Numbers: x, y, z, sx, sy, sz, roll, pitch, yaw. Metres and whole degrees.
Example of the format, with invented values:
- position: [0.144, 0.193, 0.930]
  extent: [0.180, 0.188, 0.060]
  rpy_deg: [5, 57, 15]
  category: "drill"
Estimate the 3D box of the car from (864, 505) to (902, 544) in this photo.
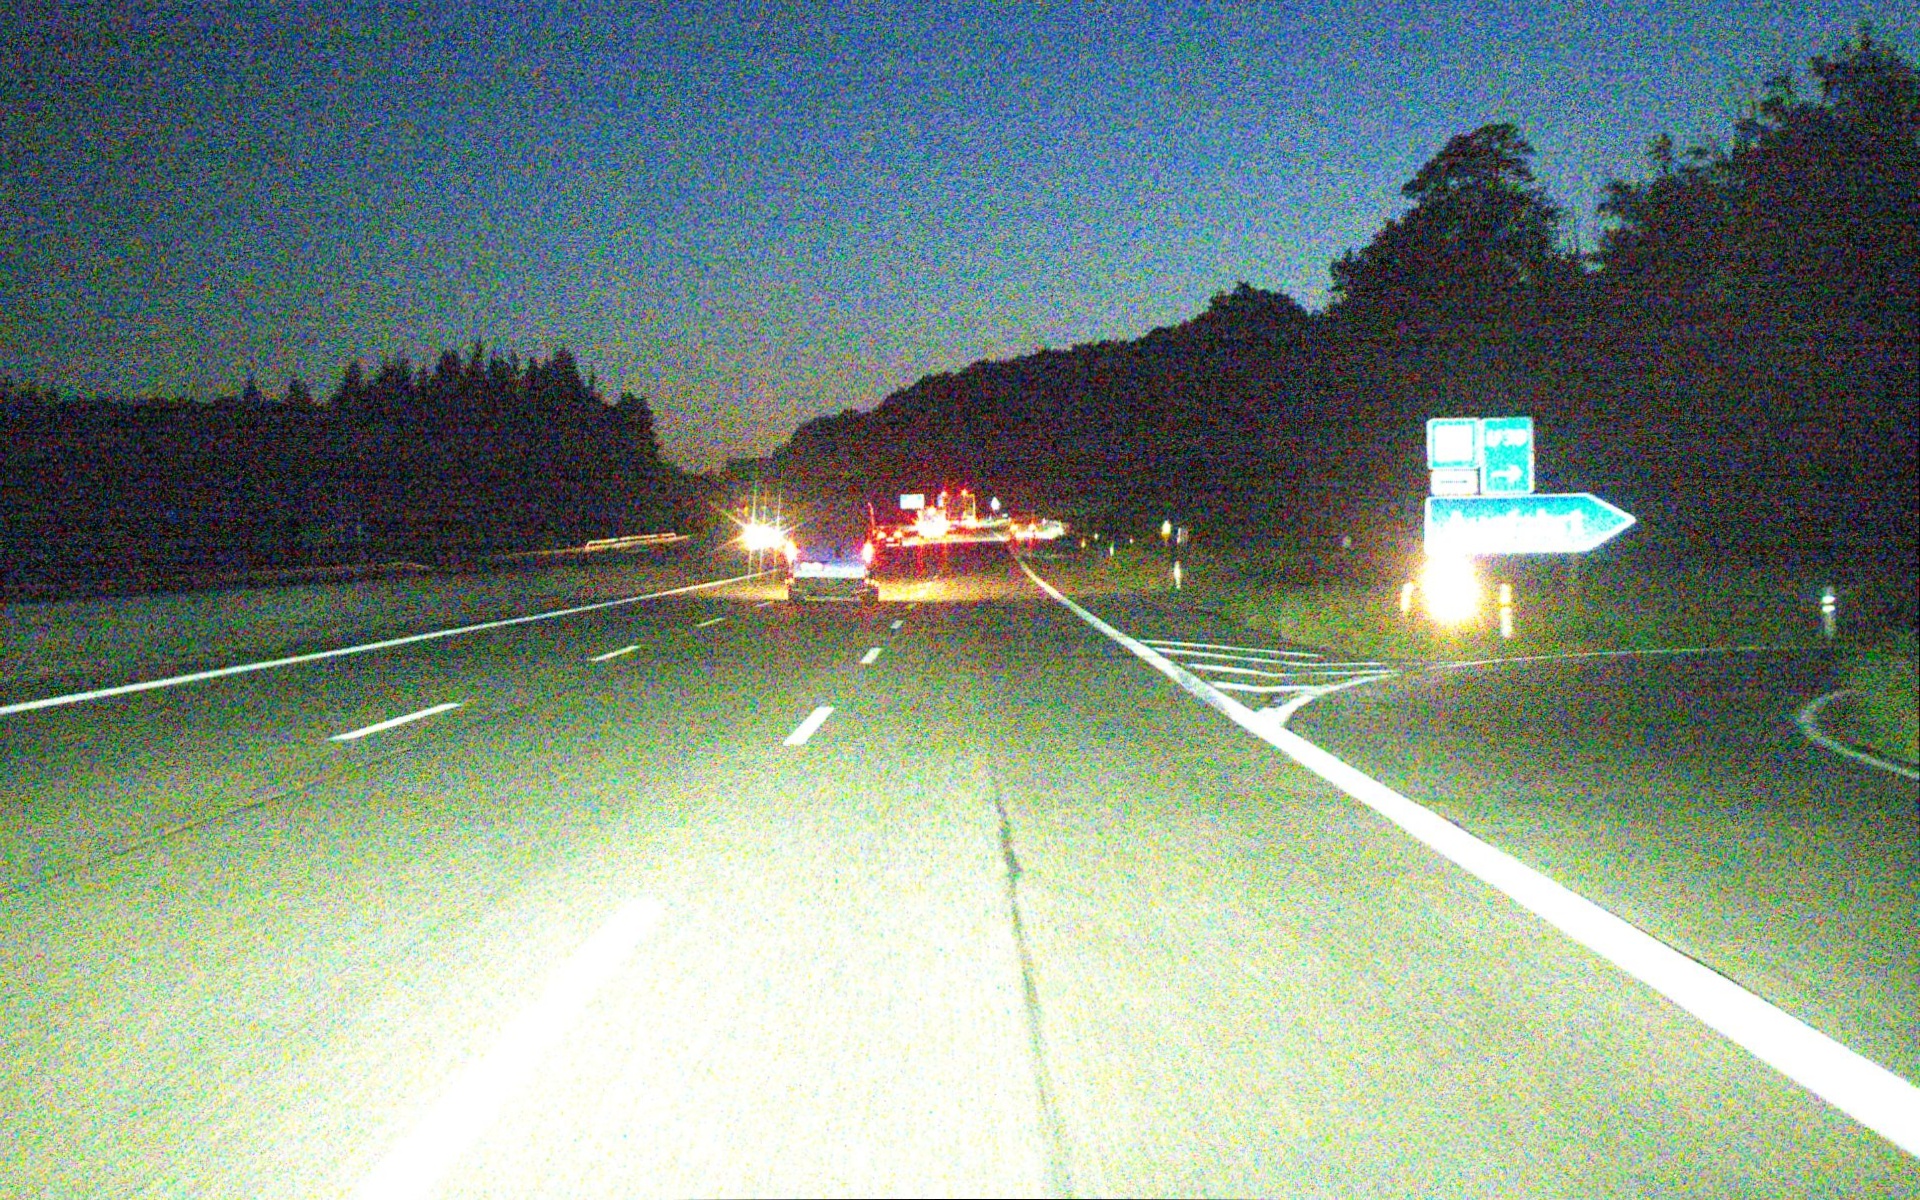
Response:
- position: [-5.715, -5.596, 256.080]
  extent: [2.786, 2.724, 6.299]
  rpy_deg: [0, 0, -1]
  category: "car"

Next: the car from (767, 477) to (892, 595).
- position: [-3.078, -1.559, 82.761]
  extent: [2.786, 2.724, 6.300]
  rpy_deg: [0, 1, 0]
  category: "car"

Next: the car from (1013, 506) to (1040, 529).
- position: [4.919, -6.103, 254.859]
  extent: [1.843, 1.634, 4.001]
  rpy_deg: [0, 2, -1]
  category: "car"
